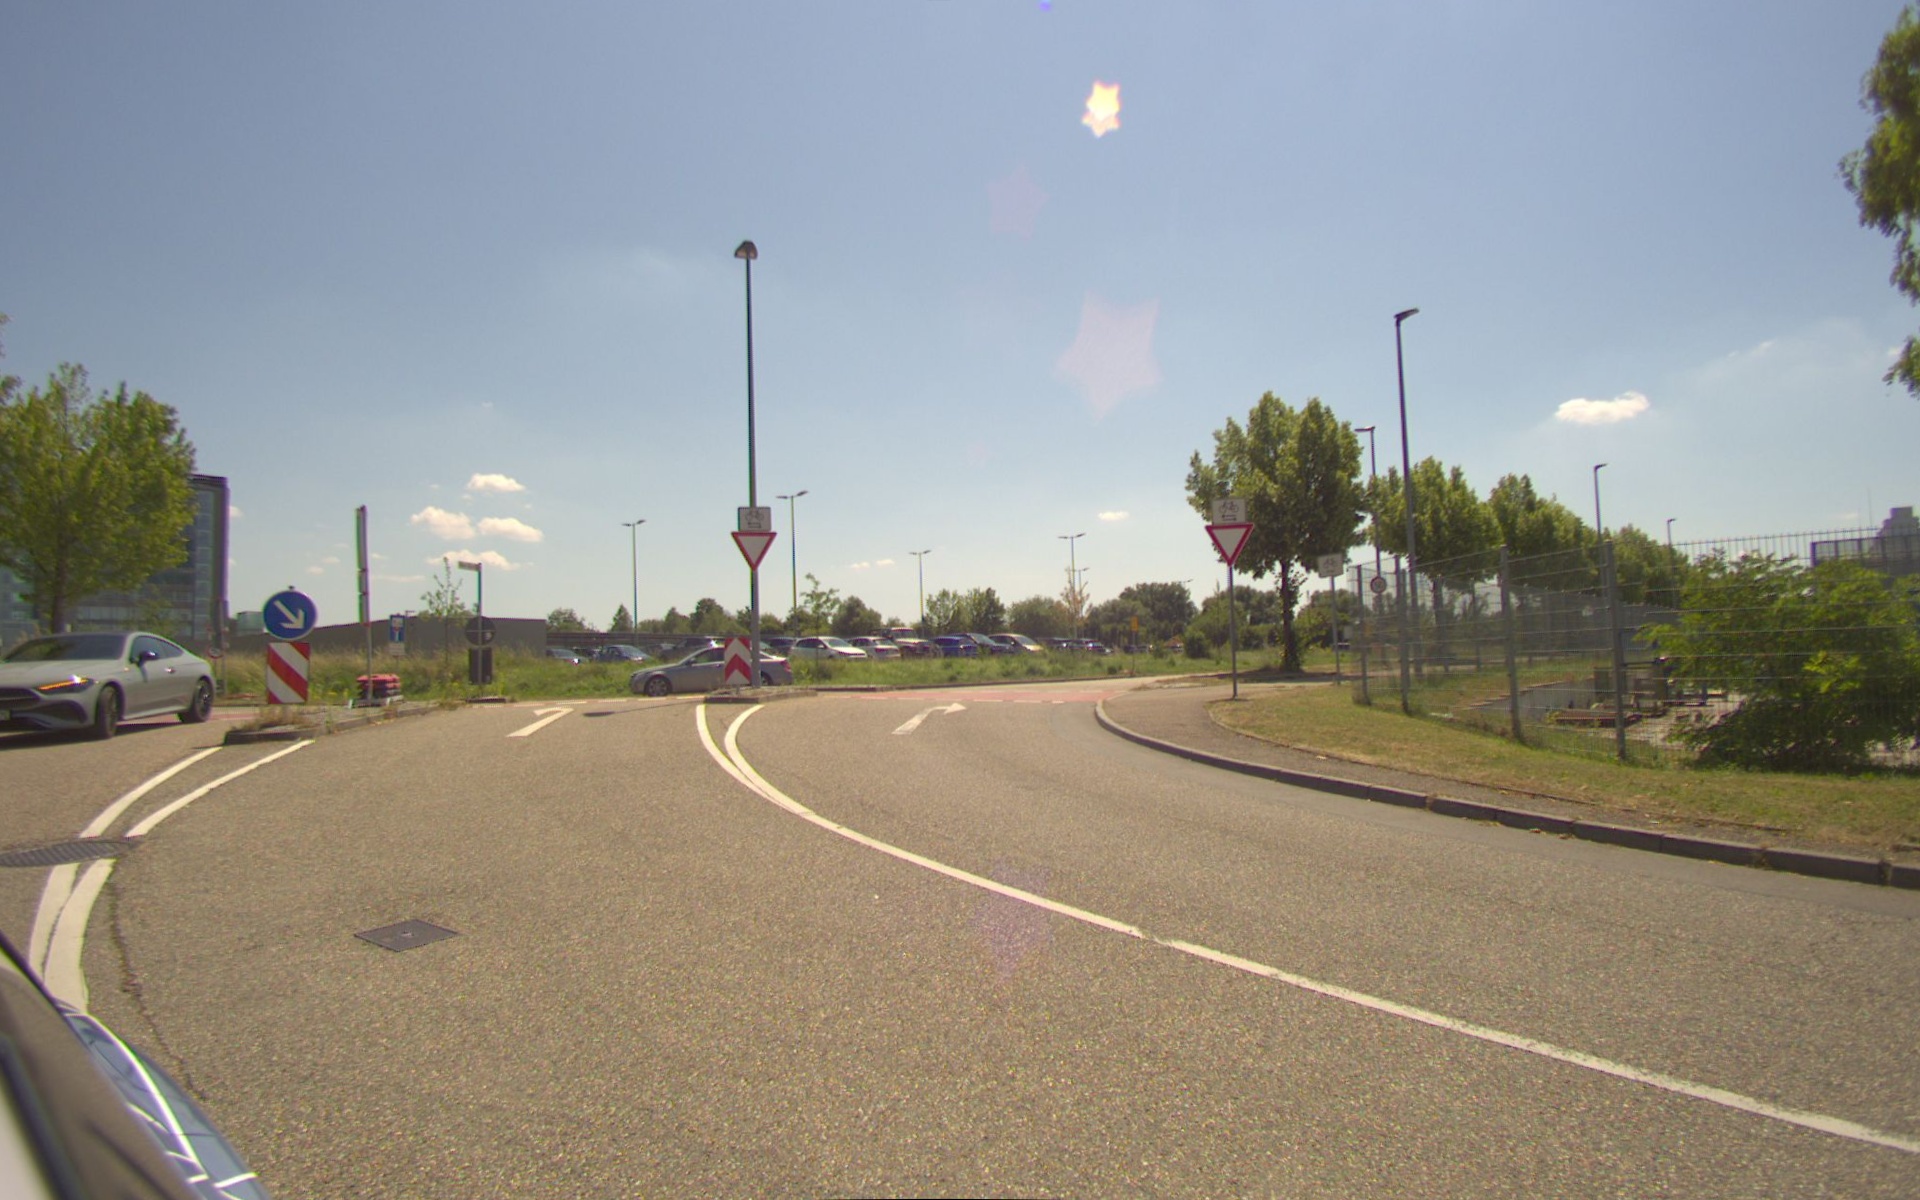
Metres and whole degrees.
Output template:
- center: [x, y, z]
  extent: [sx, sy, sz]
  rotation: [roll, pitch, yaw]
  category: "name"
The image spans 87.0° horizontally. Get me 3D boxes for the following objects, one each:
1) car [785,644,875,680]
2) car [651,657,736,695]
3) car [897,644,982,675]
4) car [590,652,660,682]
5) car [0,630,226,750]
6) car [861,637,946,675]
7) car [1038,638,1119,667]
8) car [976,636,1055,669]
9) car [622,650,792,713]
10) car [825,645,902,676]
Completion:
- center: [-5.528, 2.630, 42.636]
  extent: [3.876, 1.307, 1.553]
  rotation: [-5, -4, 41]
  category: "car"
- center: [-13.344, 3.814, 50.527]
  extent: [4.599, 1.703, 1.754]
  rotation: [-6, -7, 39]
  category: "car"
- center: [-1.012, 2.858, 48.662]
  extent: [3.940, 1.267, 1.566]
  rotation: [-5, -3, 37]
  category: "car"
- center: [-17.608, 3.520, 53.177]
  extent: [3.628, 1.457, 1.634]
  rotation: [-4, -4, 33]
  category: "car"
- center: [-12.223, 1.256, 14.019]
  extent: [1.866, 1.394, 4.646]
  rotation: [-1, -4, -17]
  category: "car"
- center: [-2.647, 2.579, 46.635]
  extent: [1.849, 1.539, 3.750]
  rotation: [0, -4, -45]
  category: "car"
- center: [6.499, 2.894, 55.577]
  extent: [3.998, 1.301, 1.882]
  rotation: [-8, -6, 41]
  category: "car"
- center: [2.837, 2.713, 52.167]
  extent: [3.844, 1.636, 1.597]
  rotation: [-4, -4, 38]
  category: "car"
- center: [-7.093, 2.277, 28.297]
  extent: [4.420, 1.385, 1.679]
  rotation: [-3, -5, -19]
  category: "car"
- center: [-4.282, 2.684, 44.647]
  extent: [3.268, 1.191, 1.481]
  rotation: [-5, -3, 40]
  category: "car"
